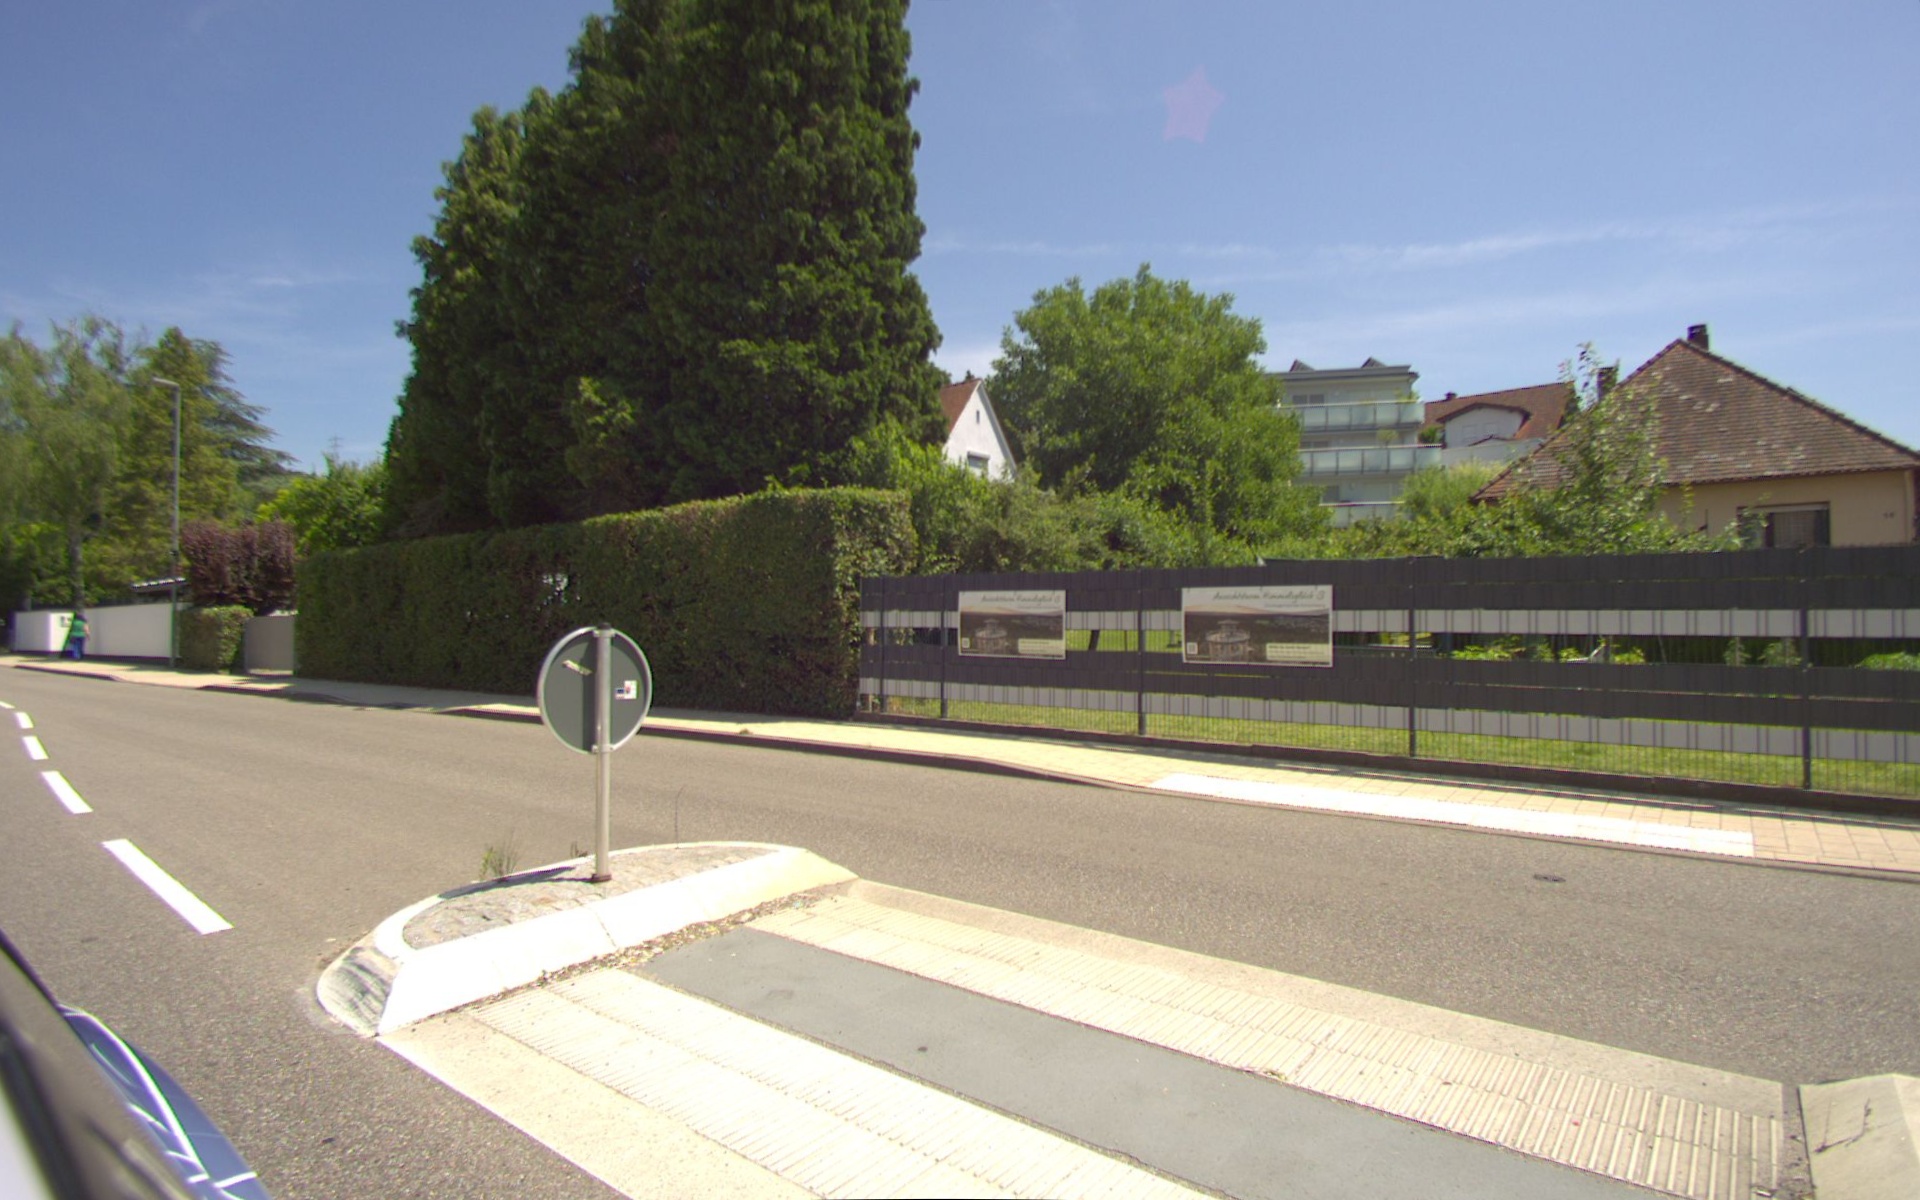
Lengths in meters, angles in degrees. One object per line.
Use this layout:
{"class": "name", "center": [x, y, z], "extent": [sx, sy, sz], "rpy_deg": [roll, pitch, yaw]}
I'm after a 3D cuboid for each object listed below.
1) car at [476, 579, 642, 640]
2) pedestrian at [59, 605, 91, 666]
{"class": "car", "center": [-13.383, 0.274, 34.042], "extent": [2.160, 1.908, 4.752], "rpy_deg": [0, 0, 40]}
{"class": "pedestrian", "center": [-30.140, 1.200, 34.460], "extent": [0.804, 2.029, 0.713], "rpy_deg": [0, 0, 41]}
